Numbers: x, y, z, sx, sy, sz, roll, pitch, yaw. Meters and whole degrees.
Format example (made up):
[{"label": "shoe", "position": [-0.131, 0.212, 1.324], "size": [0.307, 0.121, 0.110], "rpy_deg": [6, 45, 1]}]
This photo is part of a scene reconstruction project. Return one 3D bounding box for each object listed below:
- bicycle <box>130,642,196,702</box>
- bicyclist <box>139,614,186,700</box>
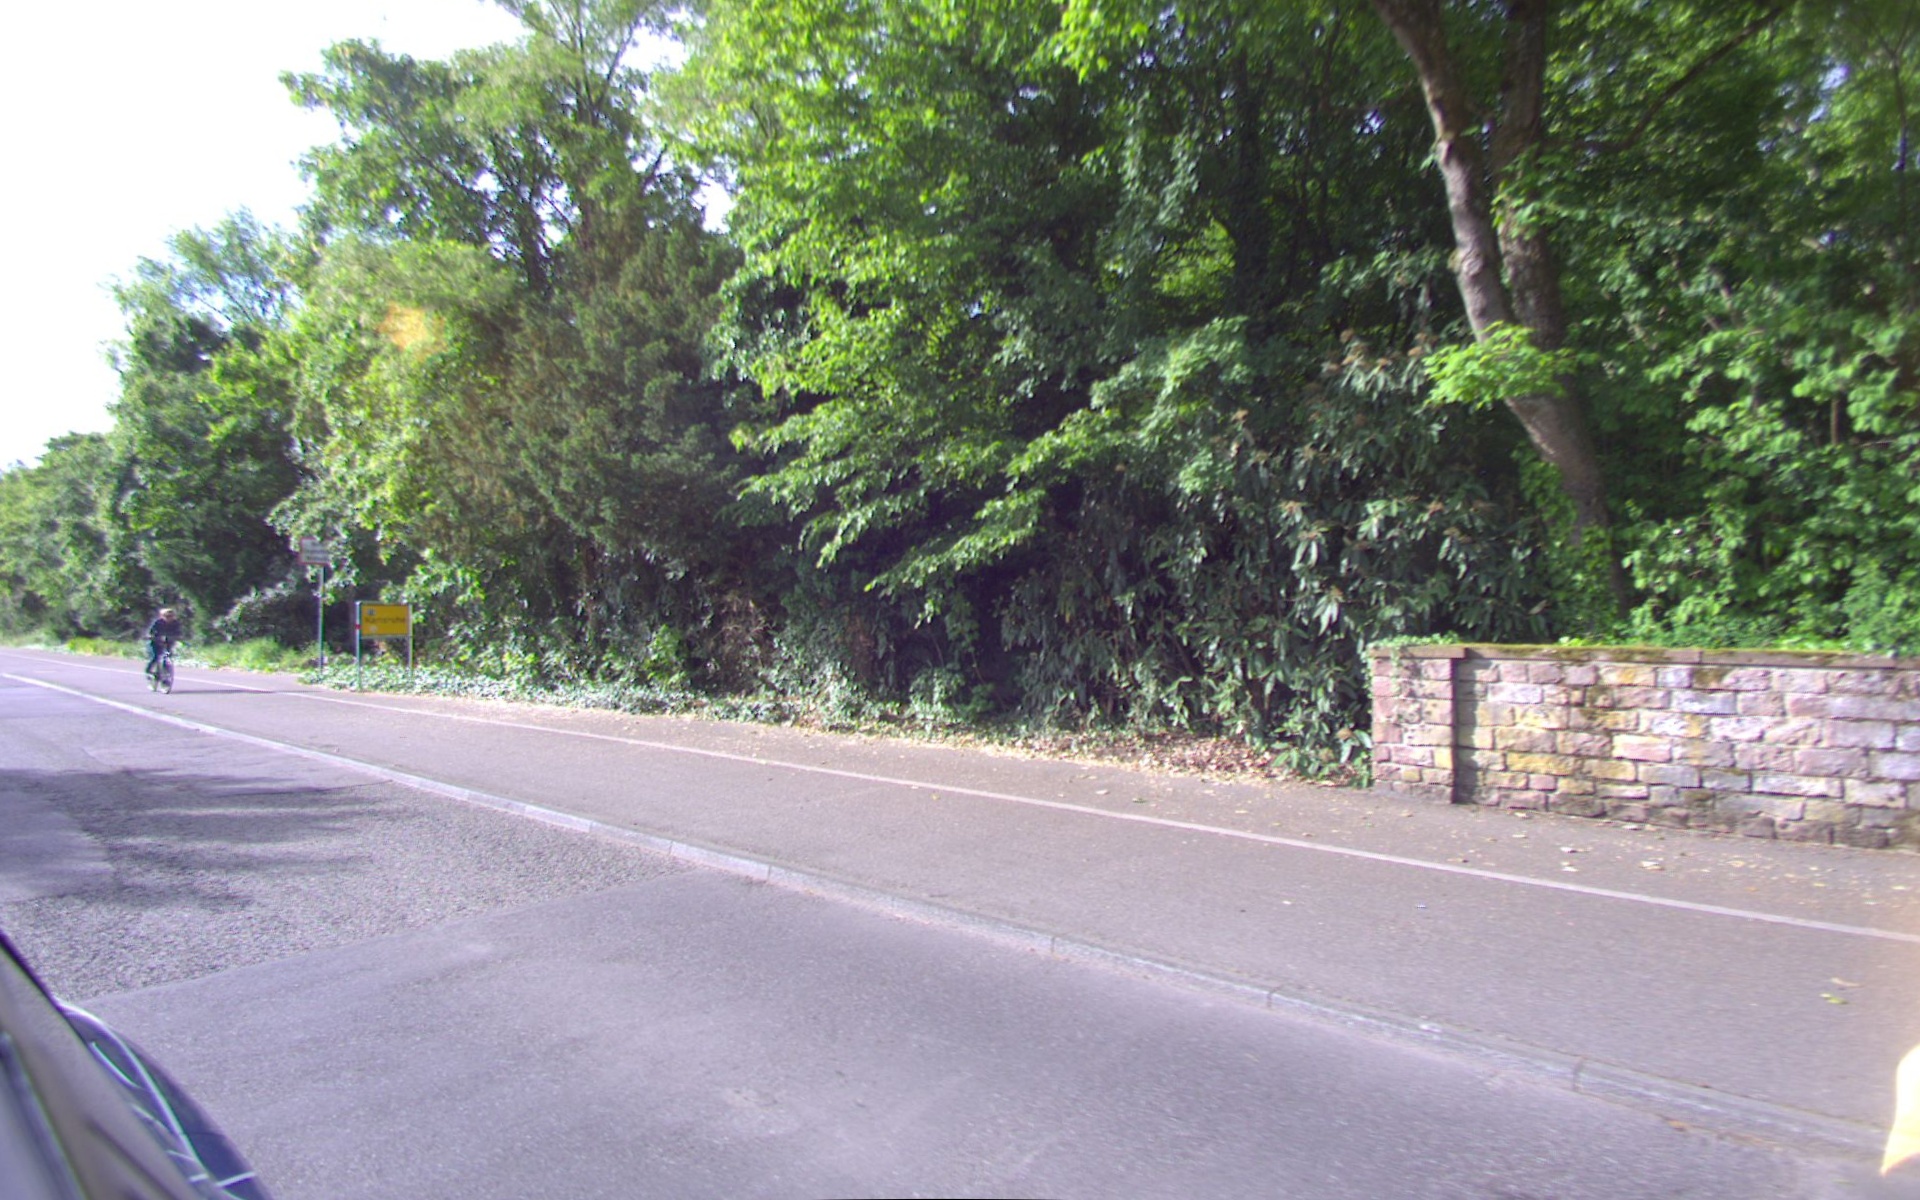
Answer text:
[{"label": "bicycle", "position": [-16.219, 1.433, 20.569], "size": [2.347, 1.105, 0.655], "rpy_deg": [-2, -2, 42]}, {"label": "bicyclist", "position": [-16.216, 1.143, 20.576], "size": [0.883, 1.689, 0.602], "rpy_deg": [-2, -2, 41]}]
